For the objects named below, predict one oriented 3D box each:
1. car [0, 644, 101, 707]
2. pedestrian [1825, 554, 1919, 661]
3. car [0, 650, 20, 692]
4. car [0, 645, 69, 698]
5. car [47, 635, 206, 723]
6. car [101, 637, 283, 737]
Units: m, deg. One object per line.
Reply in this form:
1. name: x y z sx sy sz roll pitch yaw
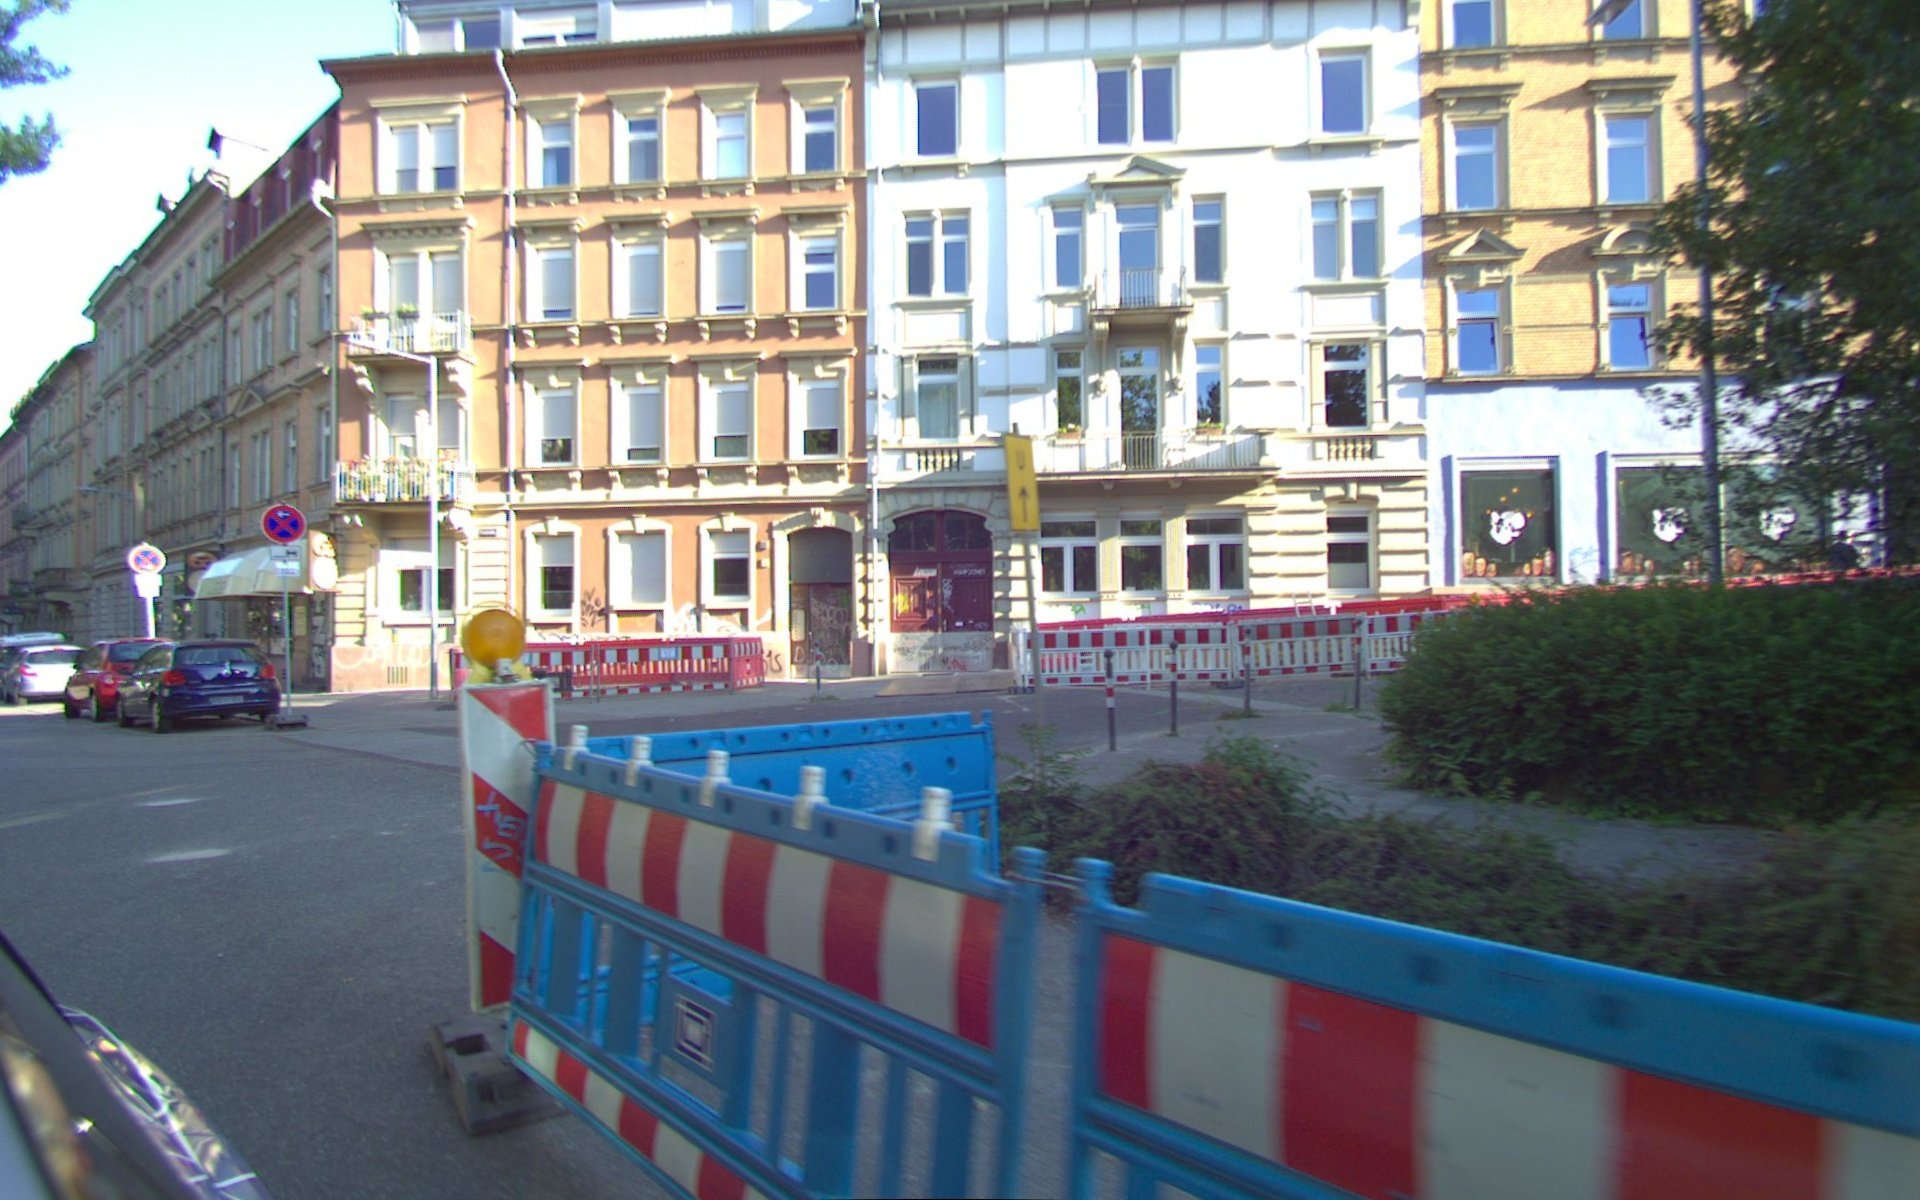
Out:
1. car: -24.178 1.966 26.717 3.994 1.448 1.707 -3 -1 41
2. pedestrian: 18.014 0.163 20.003 0.947 2.029 0.941 -2 -2 7
3. car: -35.612 2.591 36.714 4.016 1.465 1.686 -3 -3 40
4. car: -28.233 2.110 30.237 4.296 1.448 1.747 -3 -3 39
5. car: -16.537 1.504 20.021 3.995 1.542 1.653 -3 -2 39
6. car: -13.104 1.408 17.189 3.997 1.469 1.652 -3 -2 41
